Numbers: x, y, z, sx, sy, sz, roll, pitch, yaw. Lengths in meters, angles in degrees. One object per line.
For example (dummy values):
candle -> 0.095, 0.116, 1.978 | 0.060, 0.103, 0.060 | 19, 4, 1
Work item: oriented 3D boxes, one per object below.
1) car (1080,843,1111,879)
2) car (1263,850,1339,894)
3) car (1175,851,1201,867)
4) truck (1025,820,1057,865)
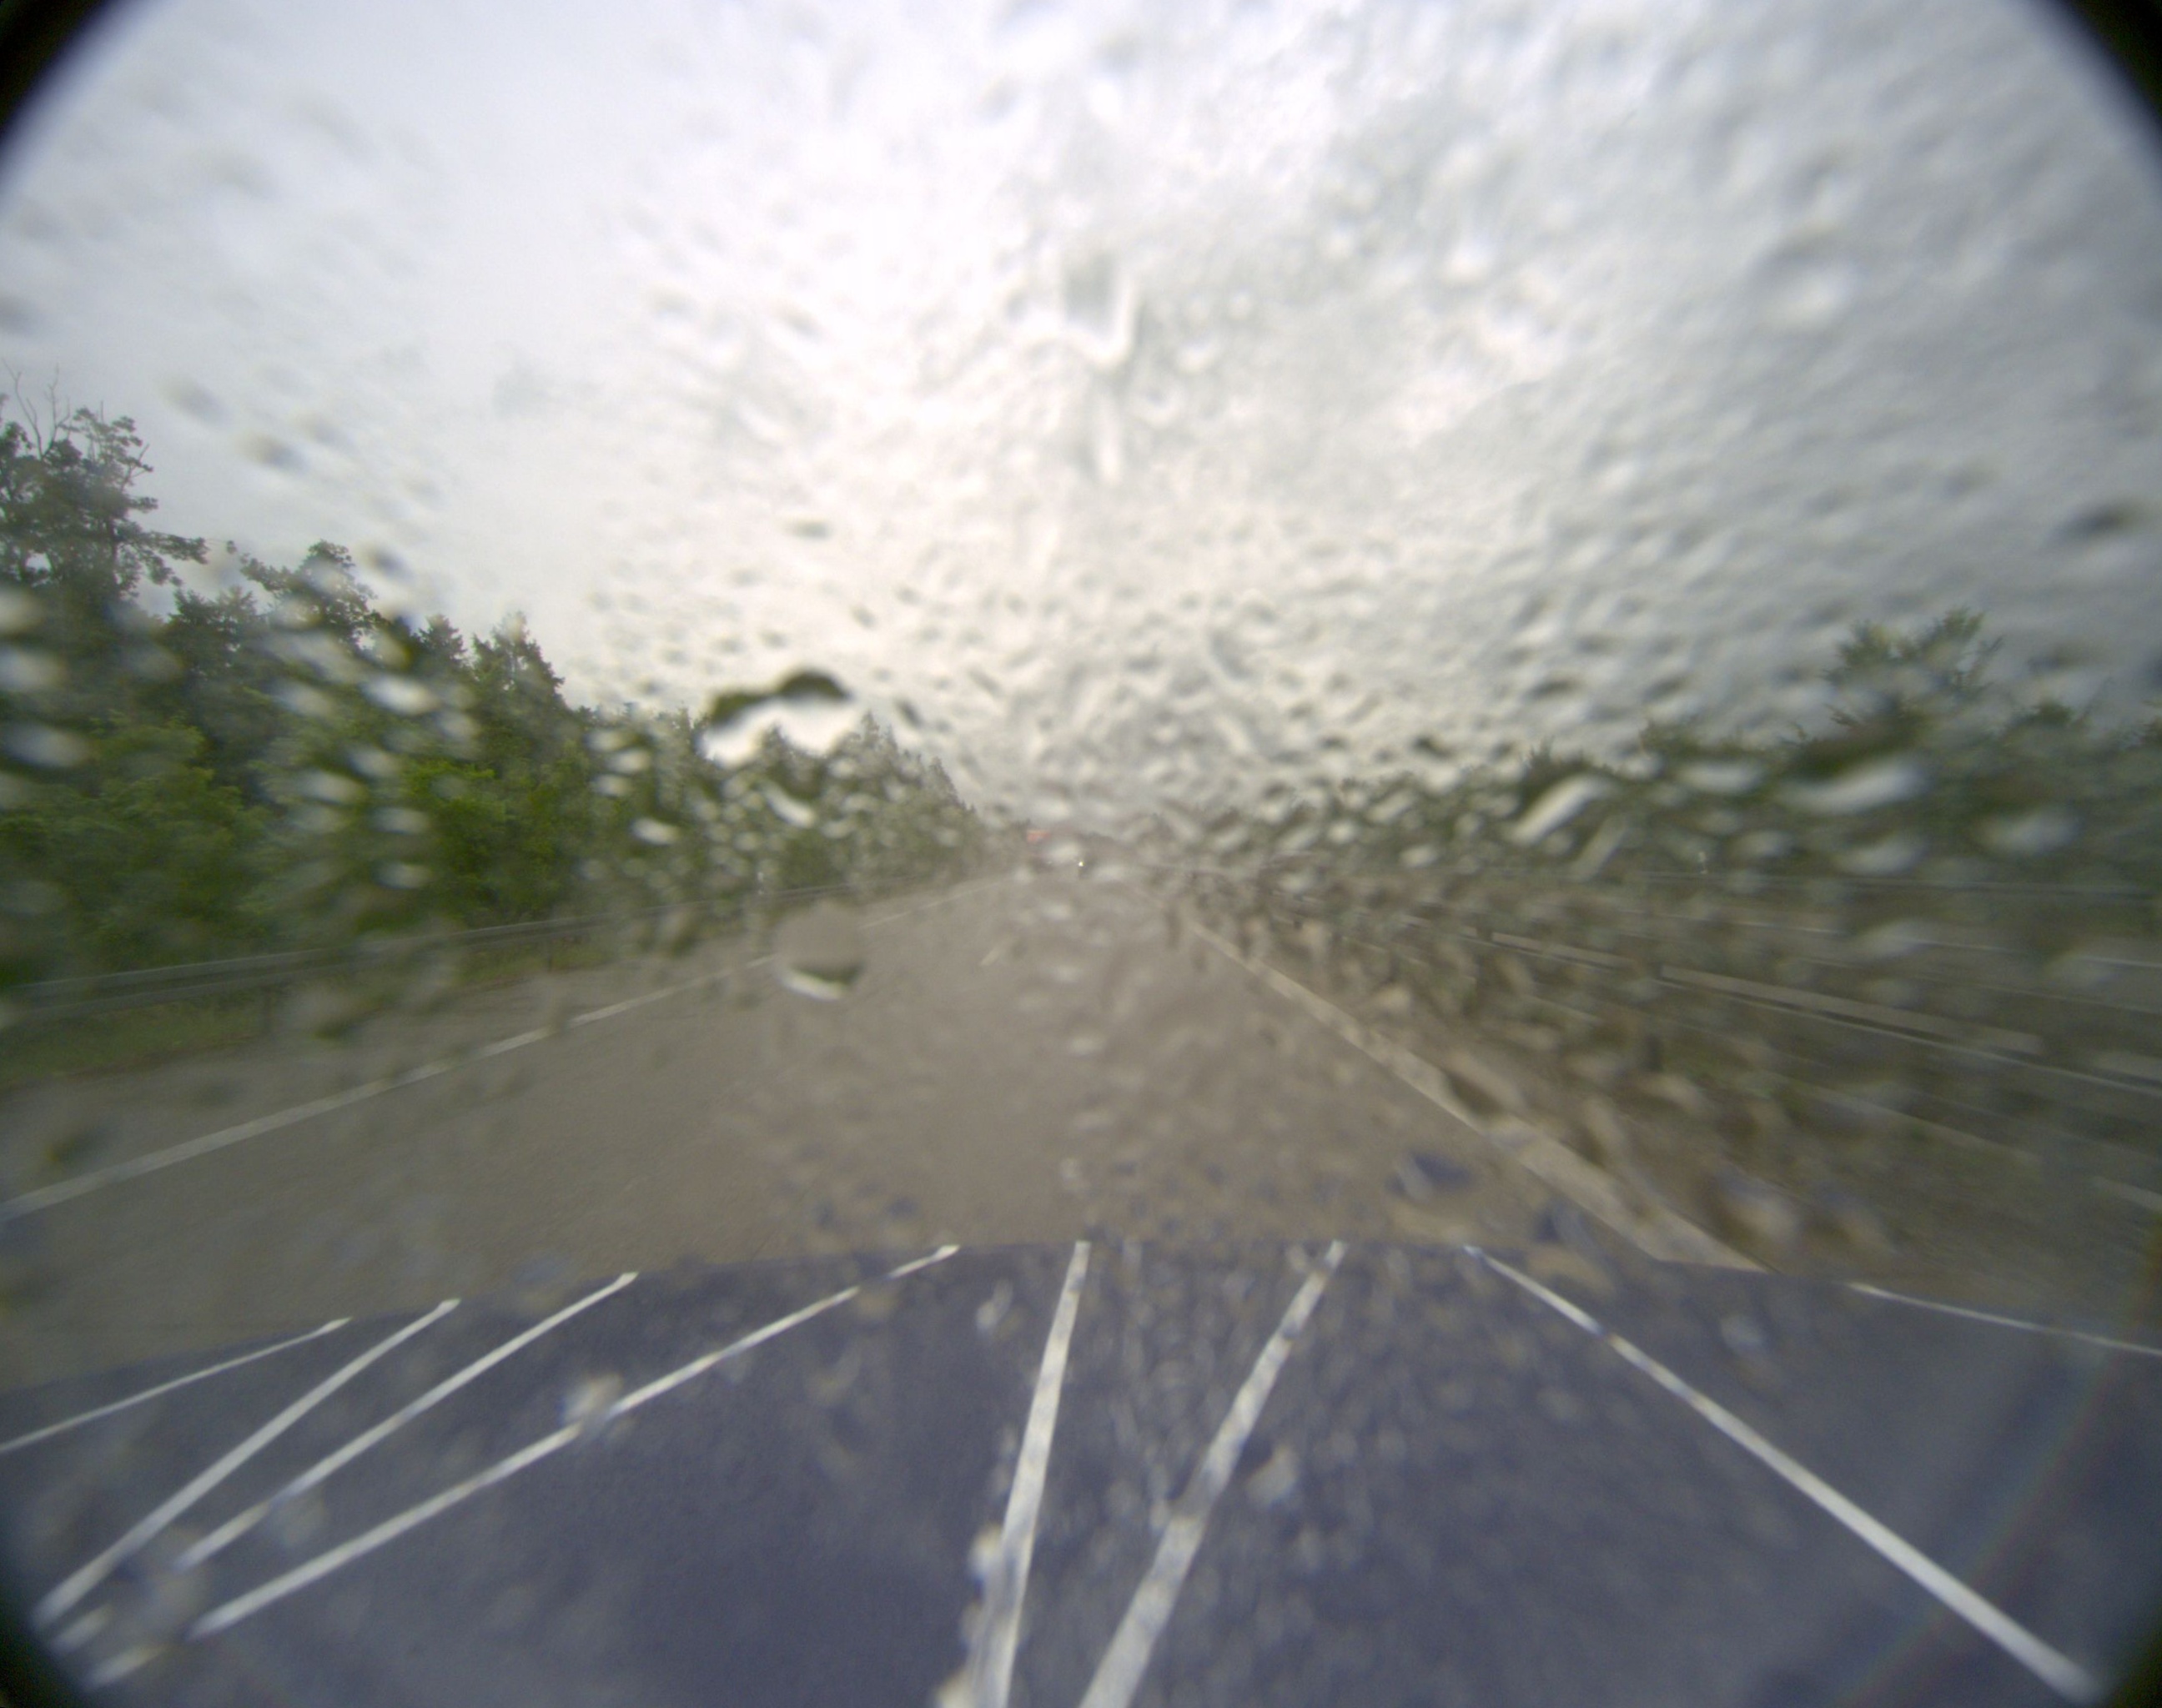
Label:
car -> 0.883, 0.444, 47.185 | 1.795, 2.113, 4.524 | 1, 0, 0
car -> 8.727, 0.701, 30.497 | 1.799, 1.609, 4.000 | 1, -1, -2
car -> 10.888, 0.505, 77.322 | 1.906, 1.490, 4.219 | -2, 1, -1
truck -> -3.799, -1.039, 73.357 | 2.766, 4.063, 5.437 | 1, 0, 0
